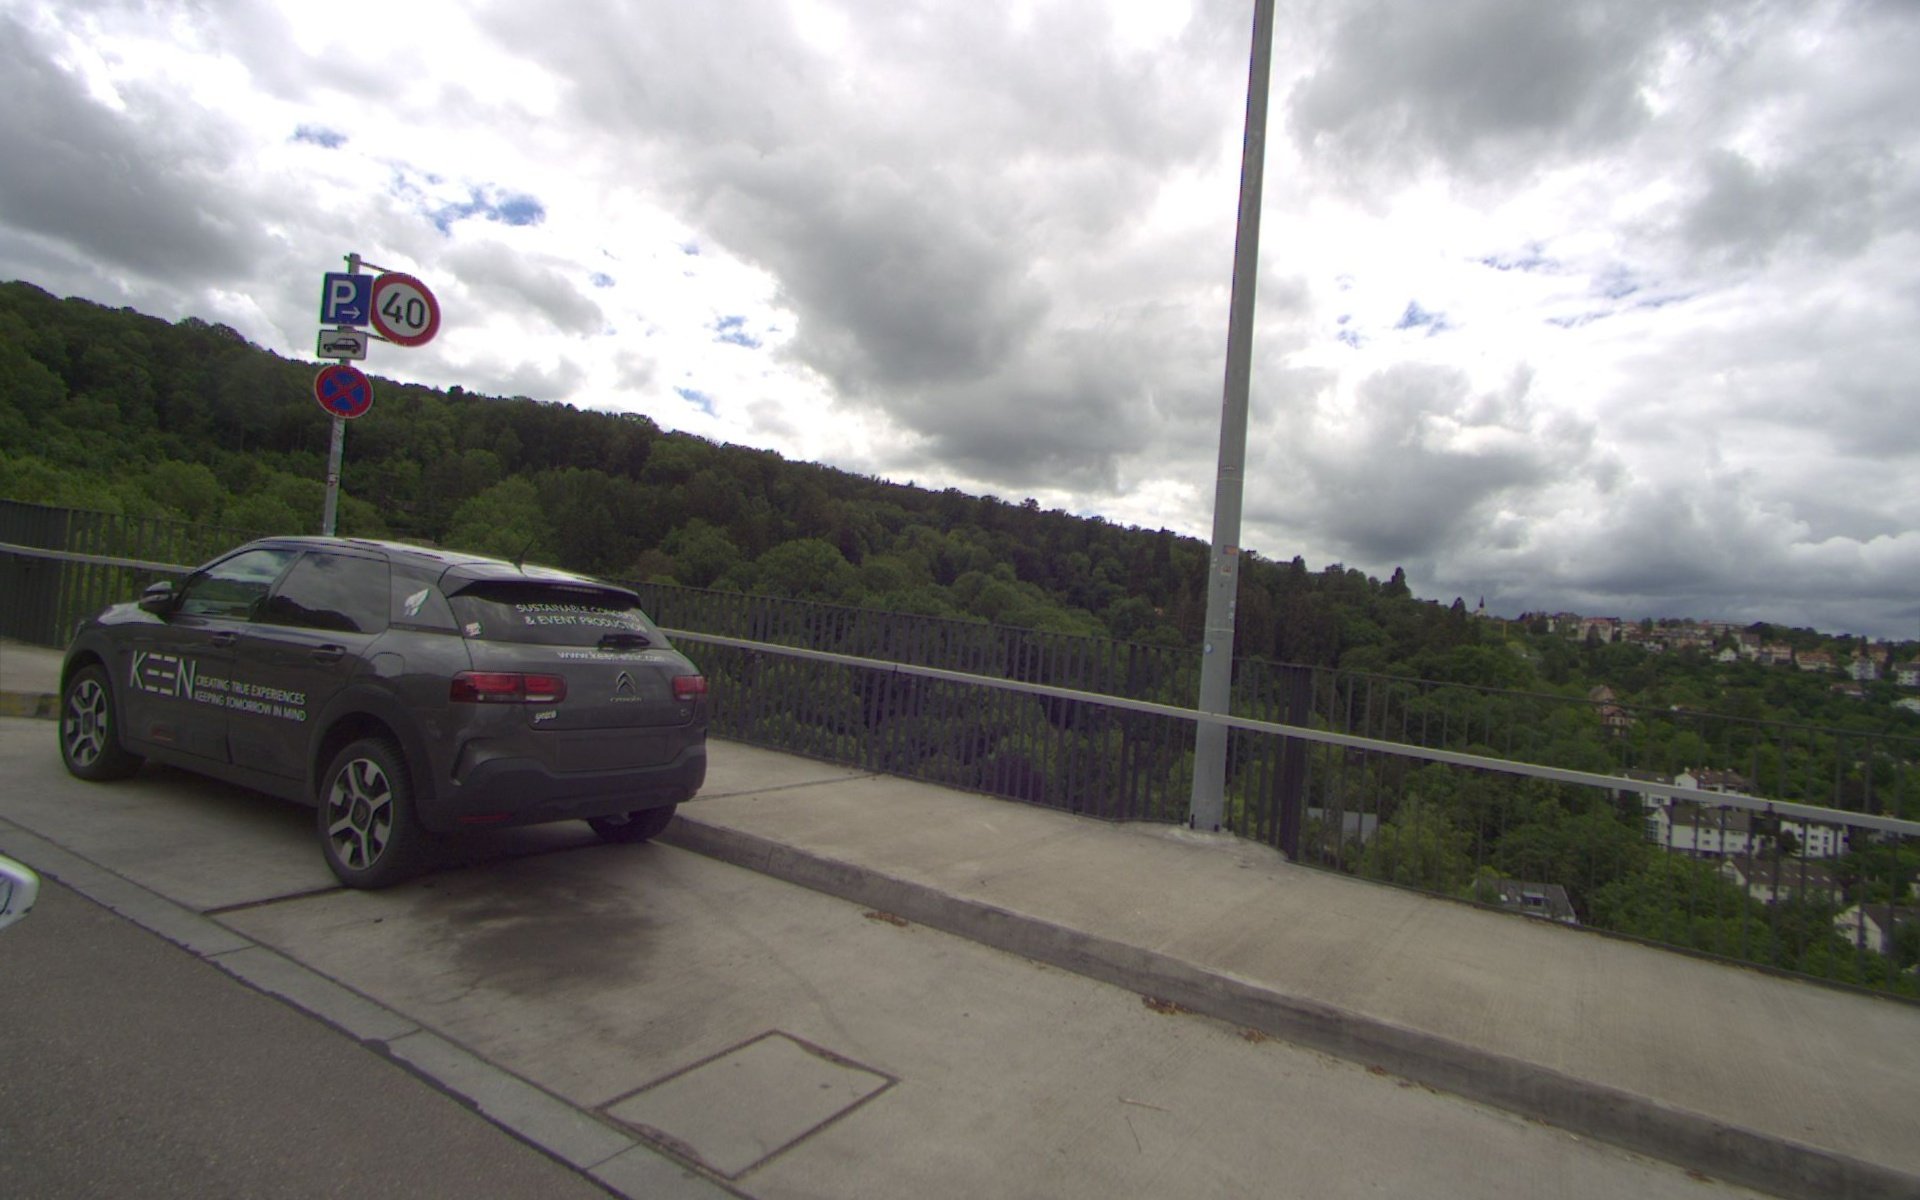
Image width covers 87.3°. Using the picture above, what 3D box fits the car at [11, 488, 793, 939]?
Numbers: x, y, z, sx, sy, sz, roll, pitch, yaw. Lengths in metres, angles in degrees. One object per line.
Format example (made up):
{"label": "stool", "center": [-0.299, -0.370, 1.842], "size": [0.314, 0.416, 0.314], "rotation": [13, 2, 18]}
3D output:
{"label": "car", "center": [-3.188, 0.404, 5.637], "size": [4.020, 1.561, 1.879], "rotation": [6, -2, 29]}
